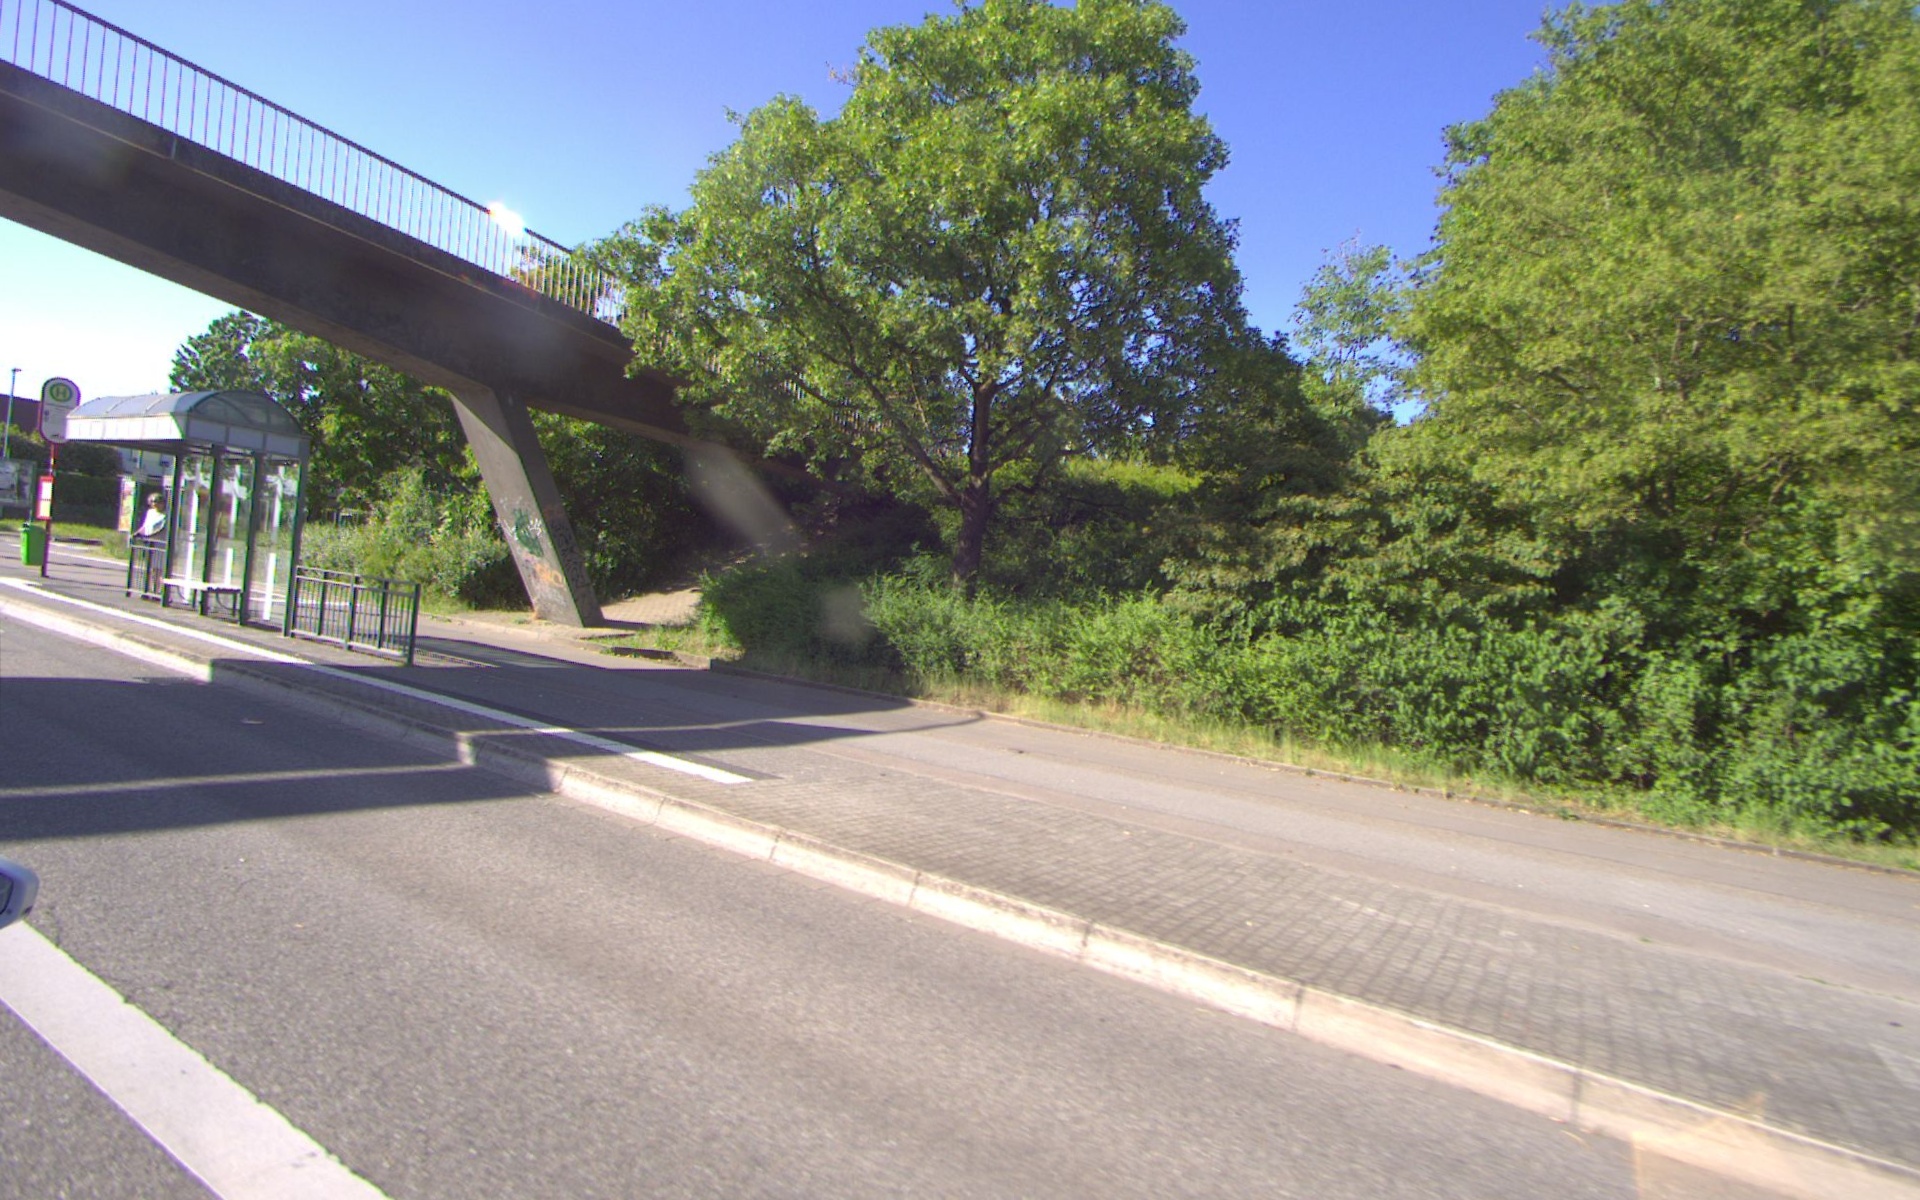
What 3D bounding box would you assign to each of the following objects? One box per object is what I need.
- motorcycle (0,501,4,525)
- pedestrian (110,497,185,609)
[{"bbox_3d":[-44.784,-4.094,45.777,0.445,1.084,1.754,7,0,39],"label":"motorcycle"},{"bbox_3d":[-12.972,-0.750,16.064,0.704,1.683,0.588,7,1,30],"label":"pedestrian"}]
